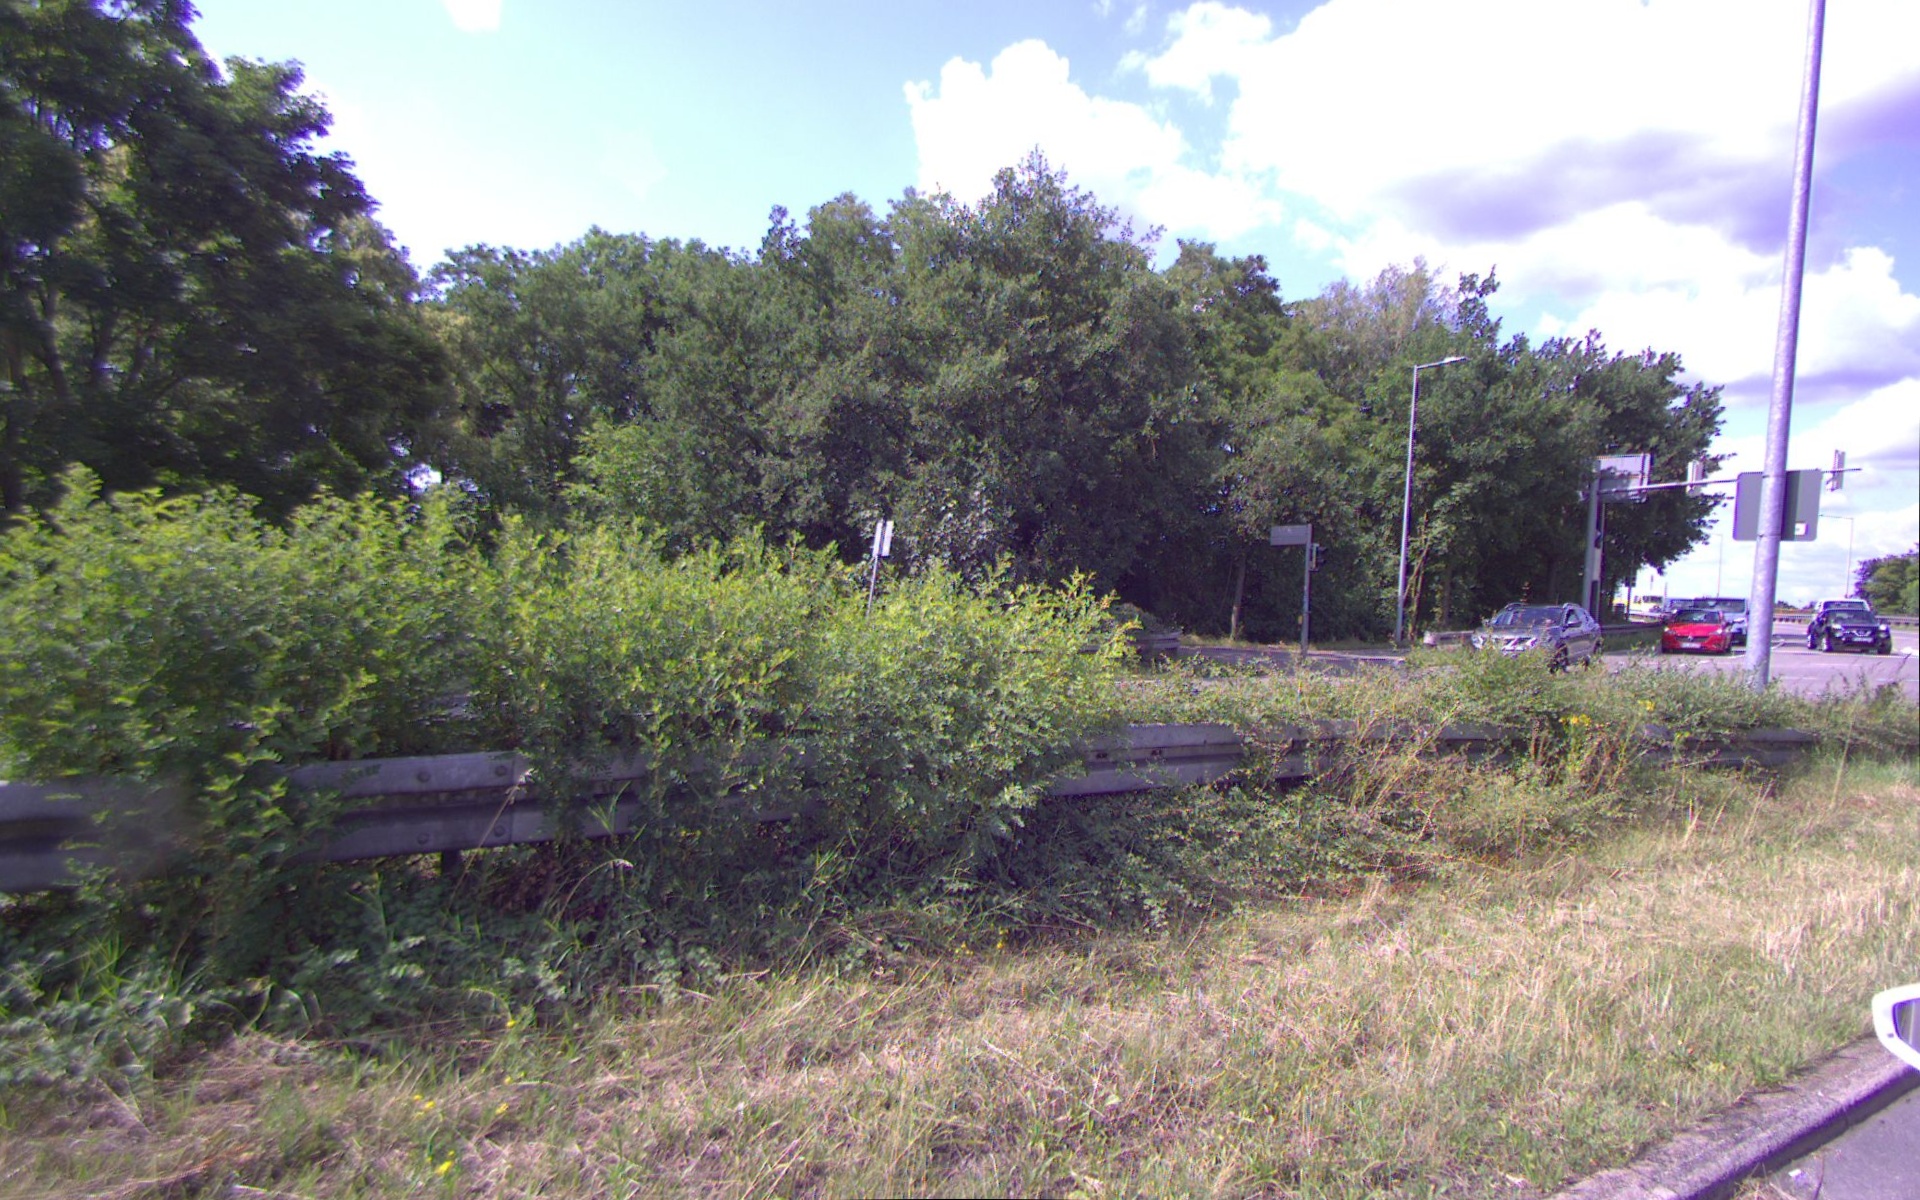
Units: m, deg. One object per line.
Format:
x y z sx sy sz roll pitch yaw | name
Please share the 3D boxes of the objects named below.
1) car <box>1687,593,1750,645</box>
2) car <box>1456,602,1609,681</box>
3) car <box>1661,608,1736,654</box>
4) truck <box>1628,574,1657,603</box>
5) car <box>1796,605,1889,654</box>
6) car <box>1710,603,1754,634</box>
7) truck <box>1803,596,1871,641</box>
31.541 0.791 41.853 1.967 2.040 5.117 0 -1 36 | car
12.840 0.884 22.421 4.249 1.607 1.695 1 -1 -42 | car
24.844 1.018 33.756 1.564 1.451 3.977 1 0 43 | car
63.660 -1.051 93.659 1.968 2.656 6.081 0 0 36 | truck
31.603 1.009 36.083 1.672 1.578 3.815 2 1 29 | car
39.450 0.925 51.353 1.711 1.541 4.052 0 0 37 | car
40.663 0.804 46.687 1.935 1.939 5.349 2 1 37 | truck
